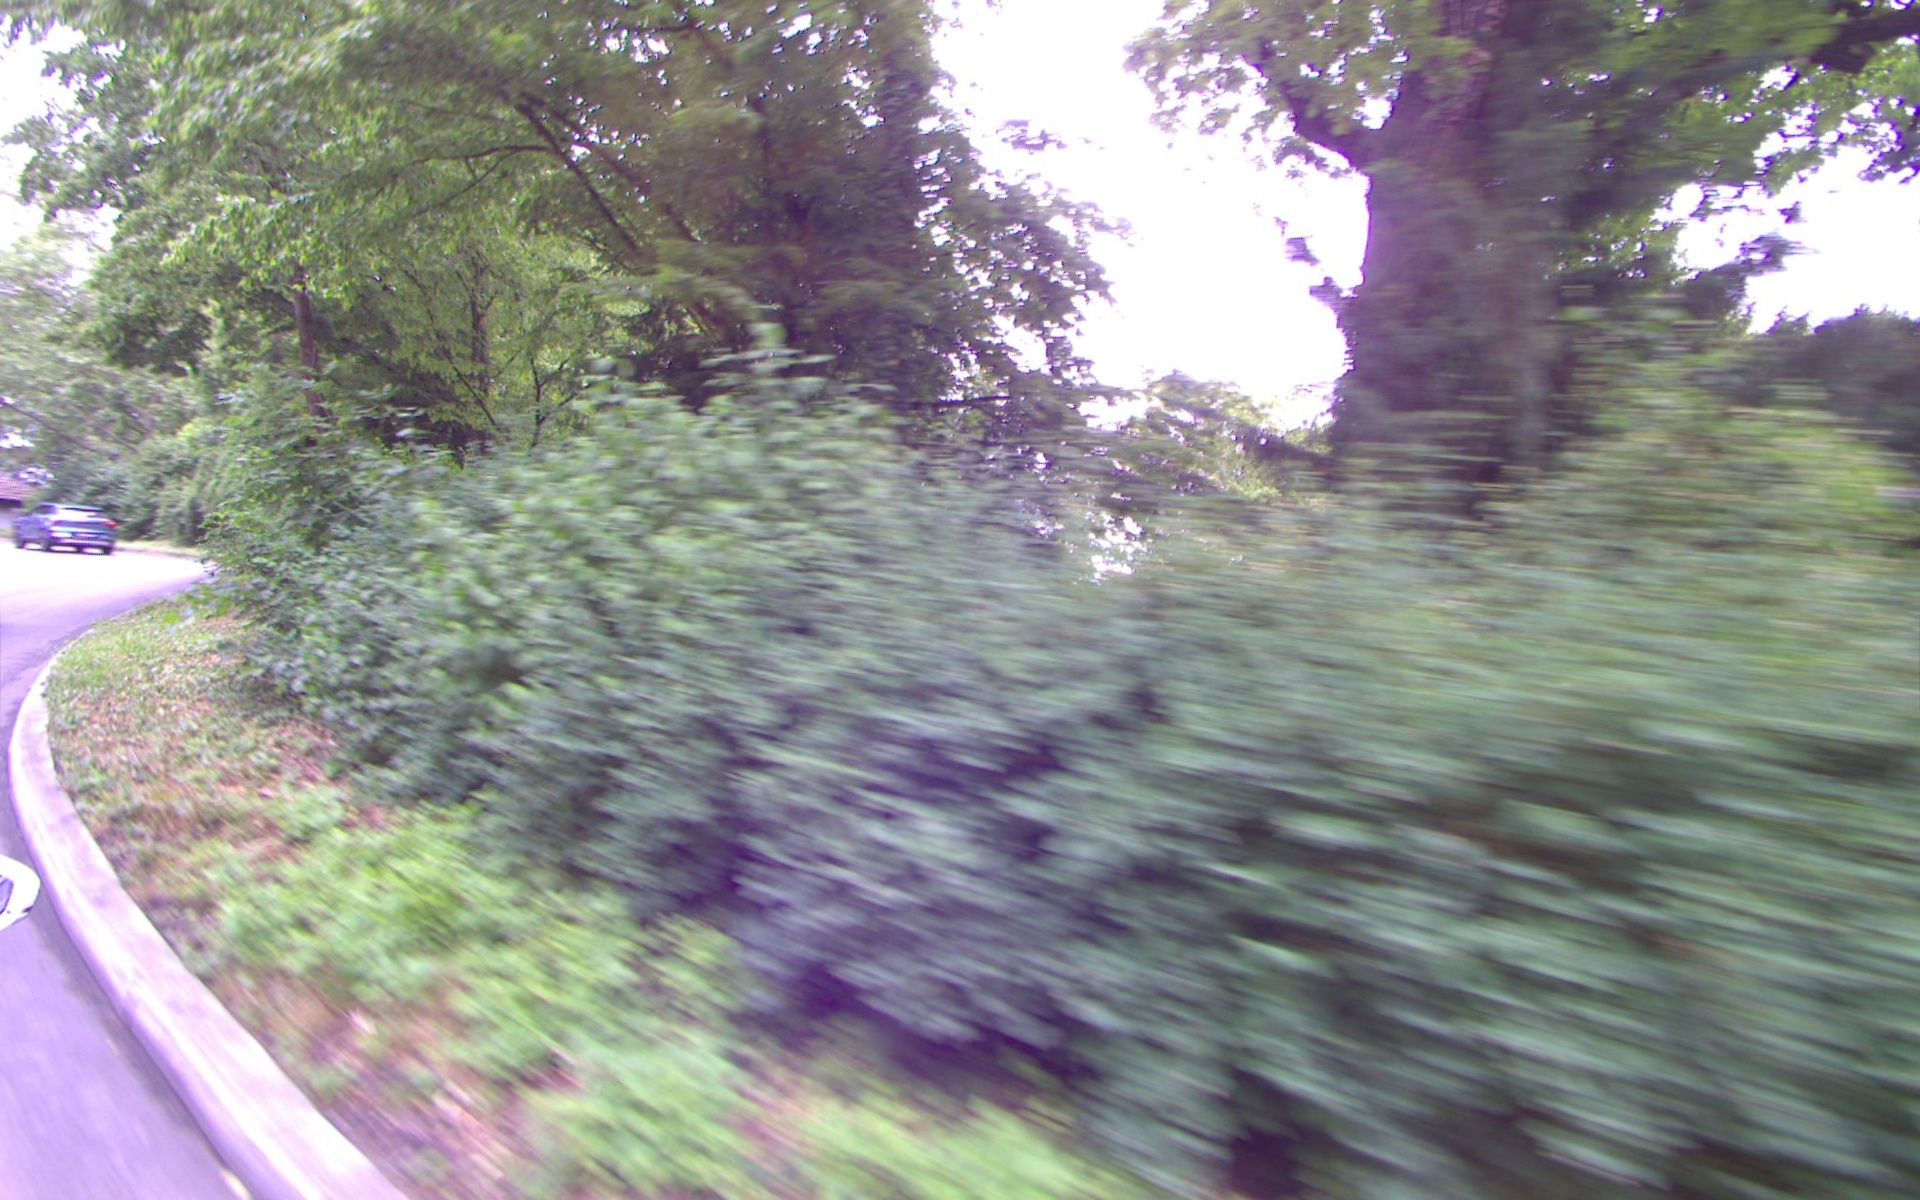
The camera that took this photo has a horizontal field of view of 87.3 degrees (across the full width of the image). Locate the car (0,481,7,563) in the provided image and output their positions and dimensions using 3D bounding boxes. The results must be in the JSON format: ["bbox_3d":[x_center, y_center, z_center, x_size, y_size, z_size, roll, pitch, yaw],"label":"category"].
[{"bbox_3d":[-10.231,-0.501,8.959,1.743,1.572,4.298,6,0,-34],"label":"car"}]

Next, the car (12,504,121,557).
[{"bbox_3d":[-29.150,-2.279,32.792,3.959,1.522,1.668,4,2,33],"label":"car"}]
